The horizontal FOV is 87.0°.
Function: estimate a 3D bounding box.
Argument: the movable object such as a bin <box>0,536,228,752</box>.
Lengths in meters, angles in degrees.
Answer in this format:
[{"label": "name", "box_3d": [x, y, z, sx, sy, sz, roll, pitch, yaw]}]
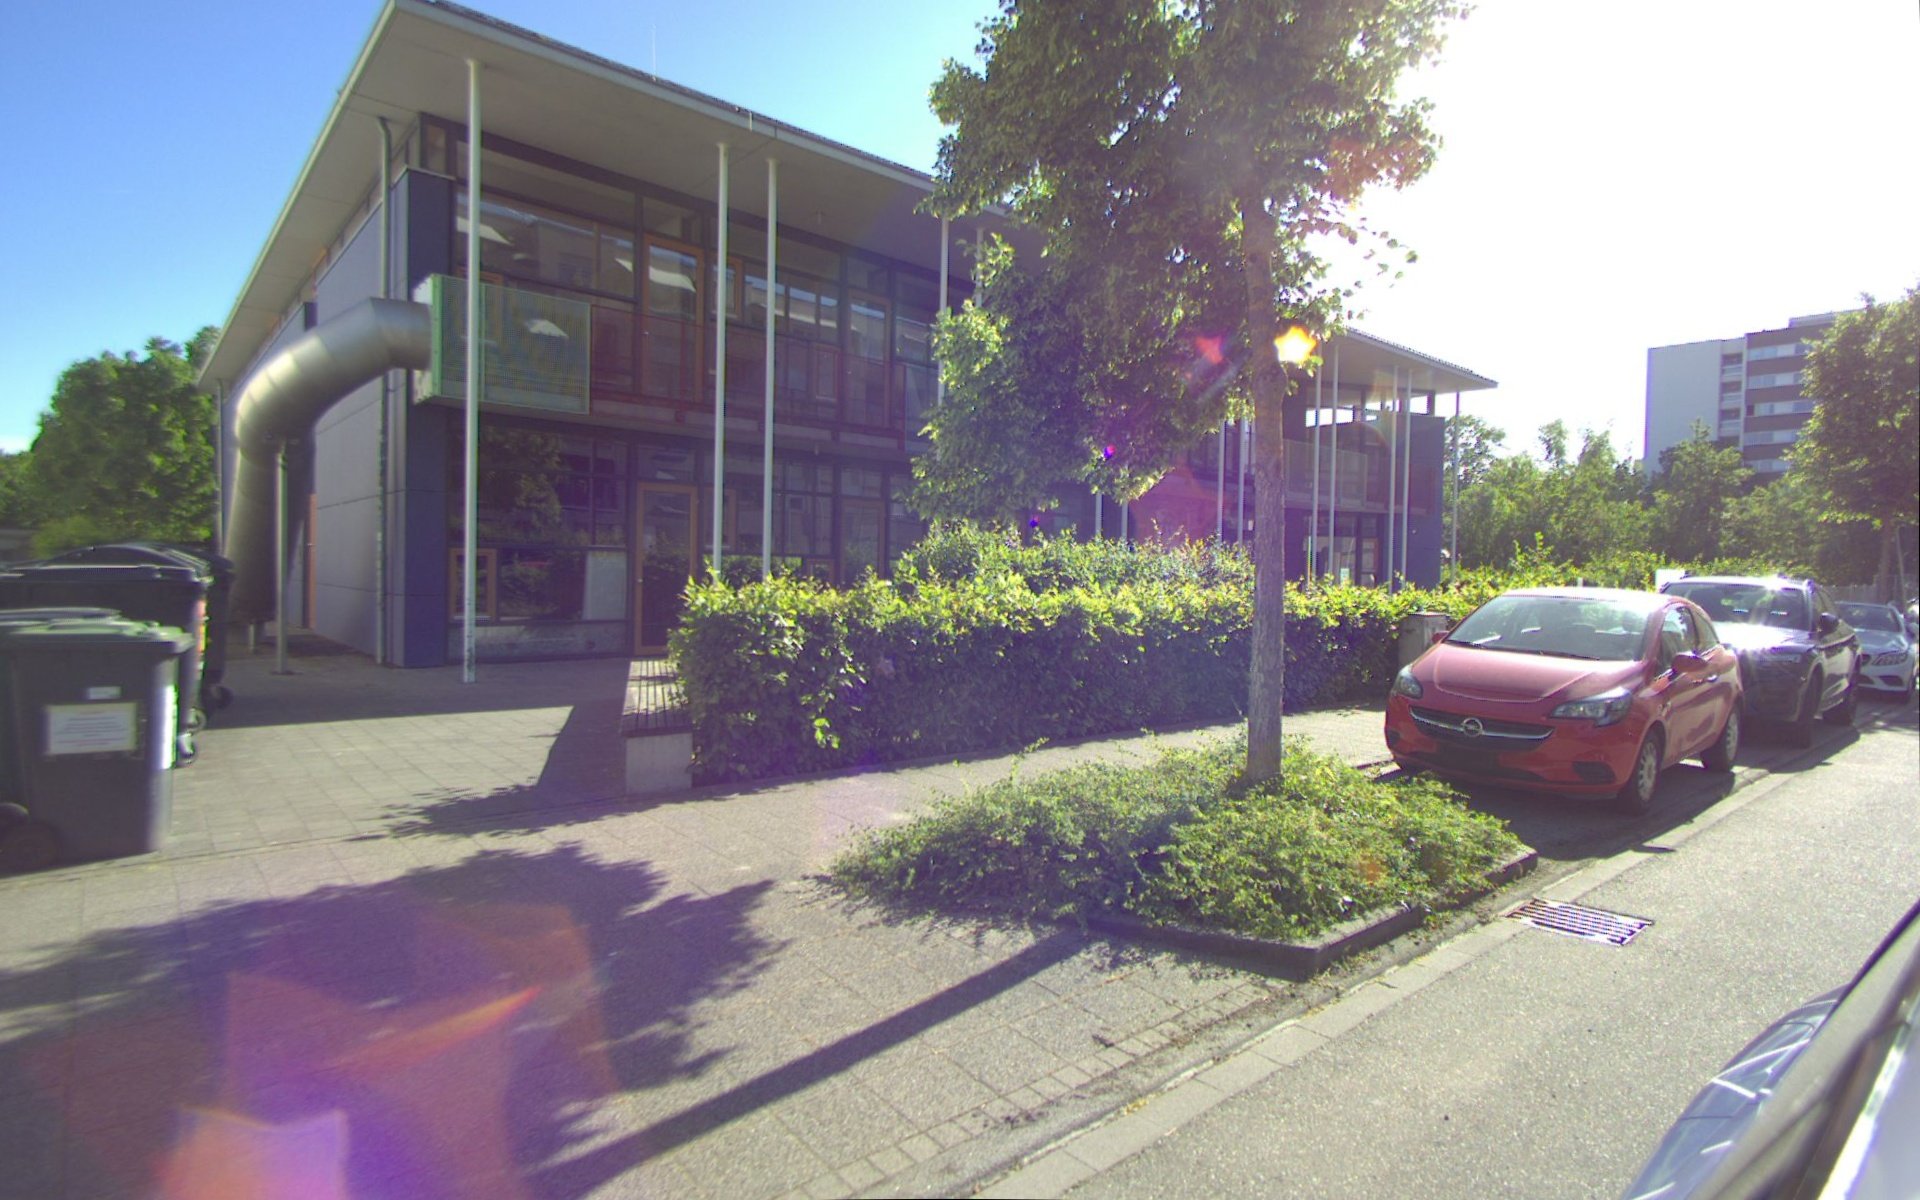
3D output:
[{"label": "movable object such as a bin", "box_3d": [-6.602, 0.270, 7.694, 1.602, 1.466, 1.369, 0, 2, -40]}]

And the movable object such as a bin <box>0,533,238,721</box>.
[{"label": "movable object such as a bin", "box_3d": [-7.357, 0.185, 8.860, 1.602, 1.466, 1.333, 0, 2, -40]}]

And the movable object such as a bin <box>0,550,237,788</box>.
[{"label": "movable object such as a bin", "box_3d": [-5.726, 0.371, 6.562, 1.602, 1.374, 1.369, 0, 2, -40]}]

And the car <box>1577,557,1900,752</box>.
[{"label": "car", "box_3d": [8.736, 0.435, 11.222, 4.333, 1.703, 1.905, -1, 4, -40]}]

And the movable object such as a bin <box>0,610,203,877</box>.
[{"label": "movable object such as a bin", "box_3d": [-4.083, 0.612, 4.613, 0.962, 1.083, 0.633, -1, 2, -41]}]

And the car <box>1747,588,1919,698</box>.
[{"label": "car", "box_3d": [14.147, 0.561, 16.041, 4.698, 1.335, 1.965, -1, 5, -44]}]

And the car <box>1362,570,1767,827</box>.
[{"label": "car", "box_3d": [4.899, 0.564, 7.998, 3.780, 1.522, 1.678, 0, 2, -42]}]

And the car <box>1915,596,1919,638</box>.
[{"label": "car", "box_3d": [27.812, 0.240, 27.755, 4.411, 1.667, 1.823, -1, 6, -41]}]
